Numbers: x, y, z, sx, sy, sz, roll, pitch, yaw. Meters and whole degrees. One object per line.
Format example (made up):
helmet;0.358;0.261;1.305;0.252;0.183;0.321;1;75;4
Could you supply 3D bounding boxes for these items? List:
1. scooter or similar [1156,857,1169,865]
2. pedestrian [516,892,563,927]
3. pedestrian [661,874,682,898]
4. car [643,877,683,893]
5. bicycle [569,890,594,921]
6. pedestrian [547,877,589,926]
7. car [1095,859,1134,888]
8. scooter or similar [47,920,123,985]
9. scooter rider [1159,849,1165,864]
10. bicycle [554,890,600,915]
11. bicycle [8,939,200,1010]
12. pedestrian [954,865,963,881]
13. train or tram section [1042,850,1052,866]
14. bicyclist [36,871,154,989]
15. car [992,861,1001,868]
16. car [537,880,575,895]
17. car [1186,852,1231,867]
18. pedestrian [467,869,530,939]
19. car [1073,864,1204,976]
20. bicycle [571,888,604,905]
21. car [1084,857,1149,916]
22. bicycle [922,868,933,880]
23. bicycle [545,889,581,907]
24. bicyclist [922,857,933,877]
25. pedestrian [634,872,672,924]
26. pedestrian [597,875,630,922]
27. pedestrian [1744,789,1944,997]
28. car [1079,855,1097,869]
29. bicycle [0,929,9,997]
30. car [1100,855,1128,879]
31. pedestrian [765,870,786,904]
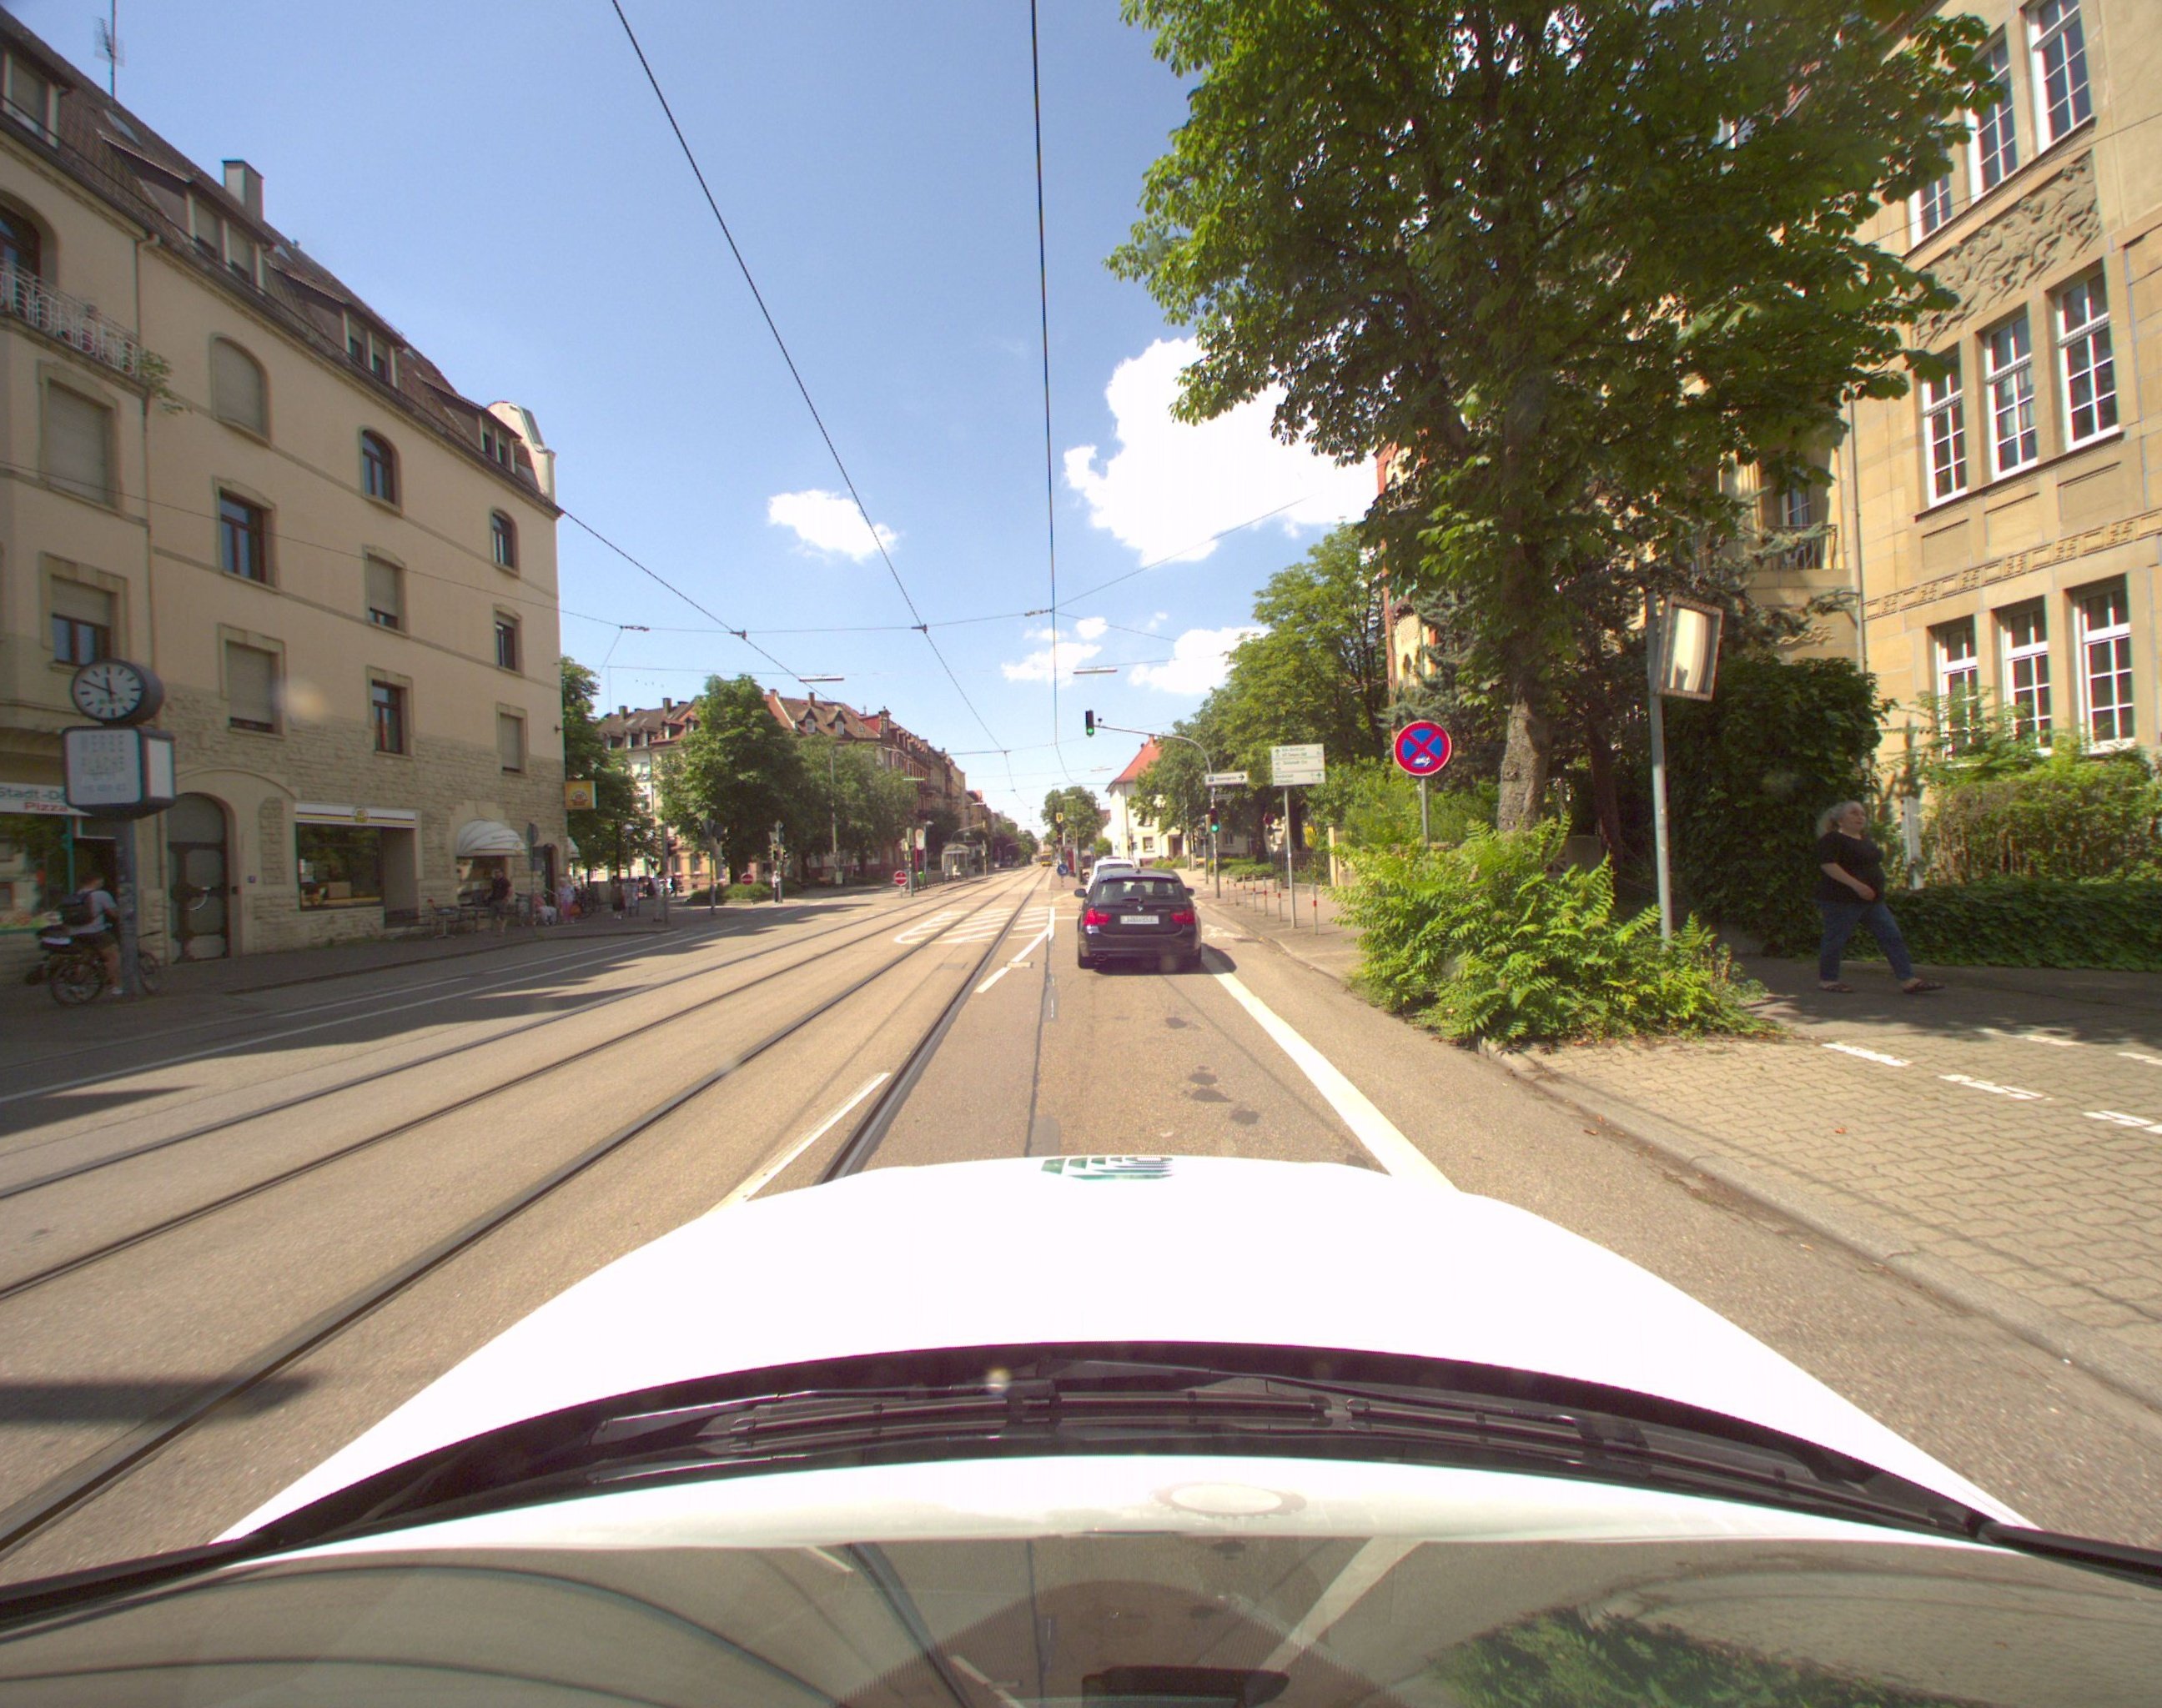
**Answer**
scooter or similar;9.186;0.808;92.039;1.311;0.837;0.525;-3;-1;-8
pedestrian;-18.208;1.855;27.404;0.913;1.077;0.882;-3;0;-1
pedestrian;-32.490;2.544;64.646;0.993;1.868;1.020;-3;-1;10
car;-42.176;3.134;82.177;3.429;1.471;1.694;-3;0;23
bicycle;-18.905;1.960;30.825;0.547;1.128;1.663;-2;-2;-39
pedestrian;-17.661;1.623;28.043;0.805;1.594;0.918;-3;0;-3
car;1.648;0.938;40.961;1.686;1.323;3.819;-3;0;-1
scooter or similar;-17.887;1.743;14.653;0.700;1.044;1.195;-1;-1;-42
scooter rider;9.153;0.313;92.032;0.590;1.687;0.527;-3;0;-7
bicycle;-23.593;2.276;38.166;0.537;1.032;1.743;-3;0;31
bicycle;-14.740;1.792;12.382;0.750;0.818;1.818;1;-1;-3
pedestrian;-9.459;1.456;62.989;0.613;1.243;0.626;-3;-1;-8
train or tram section;-7.992;0.958;190.818;2.185;3.482;8.837;-3;0;-2
bicyclist;-14.737;1.105;12.201;0.756;1.663;0.828;-1;-1;-9
car;-19.374;2.490;187.225;1.788;1.586;3.985;-1;-1;-10
car;-56.335;3.596;87.381;3.429;1.471;1.694;-3;0;23
car;12.496;0.512;79.842;3.948;1.243;1.634;-3;0;33
pedestrian;-16.542;1.387;23.147;0.898;1.891;1.163;-2;0;-3
car;0.899;0.897;13.042;1.715;1.409;4.569;-1;0;3
bicycle;-34.213;2.917;56.437;1.859;1.032;0.540;-3;0;-25
car;1.025;0.881;23.893;1.678;1.484;3.686;-3;0;2
bicycle;-14.529;1.875;77.091;0.727;1.101;1.713;-3;0;-3
bicycle;-32.954;2.796;51.806;1.859;1.032;0.540;-3;0;-25
bicyclist;-14.512;1.228;77.012;0.721;1.870;0.825;-3;0;-2
pedestrian;-14.877;1.509;28.323;0.857;1.732;0.775;-1;0;0
pedestrian;-17.242;1.618;30.020;0.867;1.635;1.015;-3;-1;-37
pedestrian;6.533;0.321;7.026;0.853;1.645;0.837;-3;-1;2
car;0.984;1.156;113.329;1.991;1.849;3.992;-3;0;-5
bicycle;-17.636;1.741;12.438;0.366;1.066;1.472;-2;-2;22
car;2.156;0.853;54.371;1.685;1.514;3.821;-3;0;1
pedestrian;-16.175;1.745;43.106;0.843;1.723;0.910;-3;-1;-32
